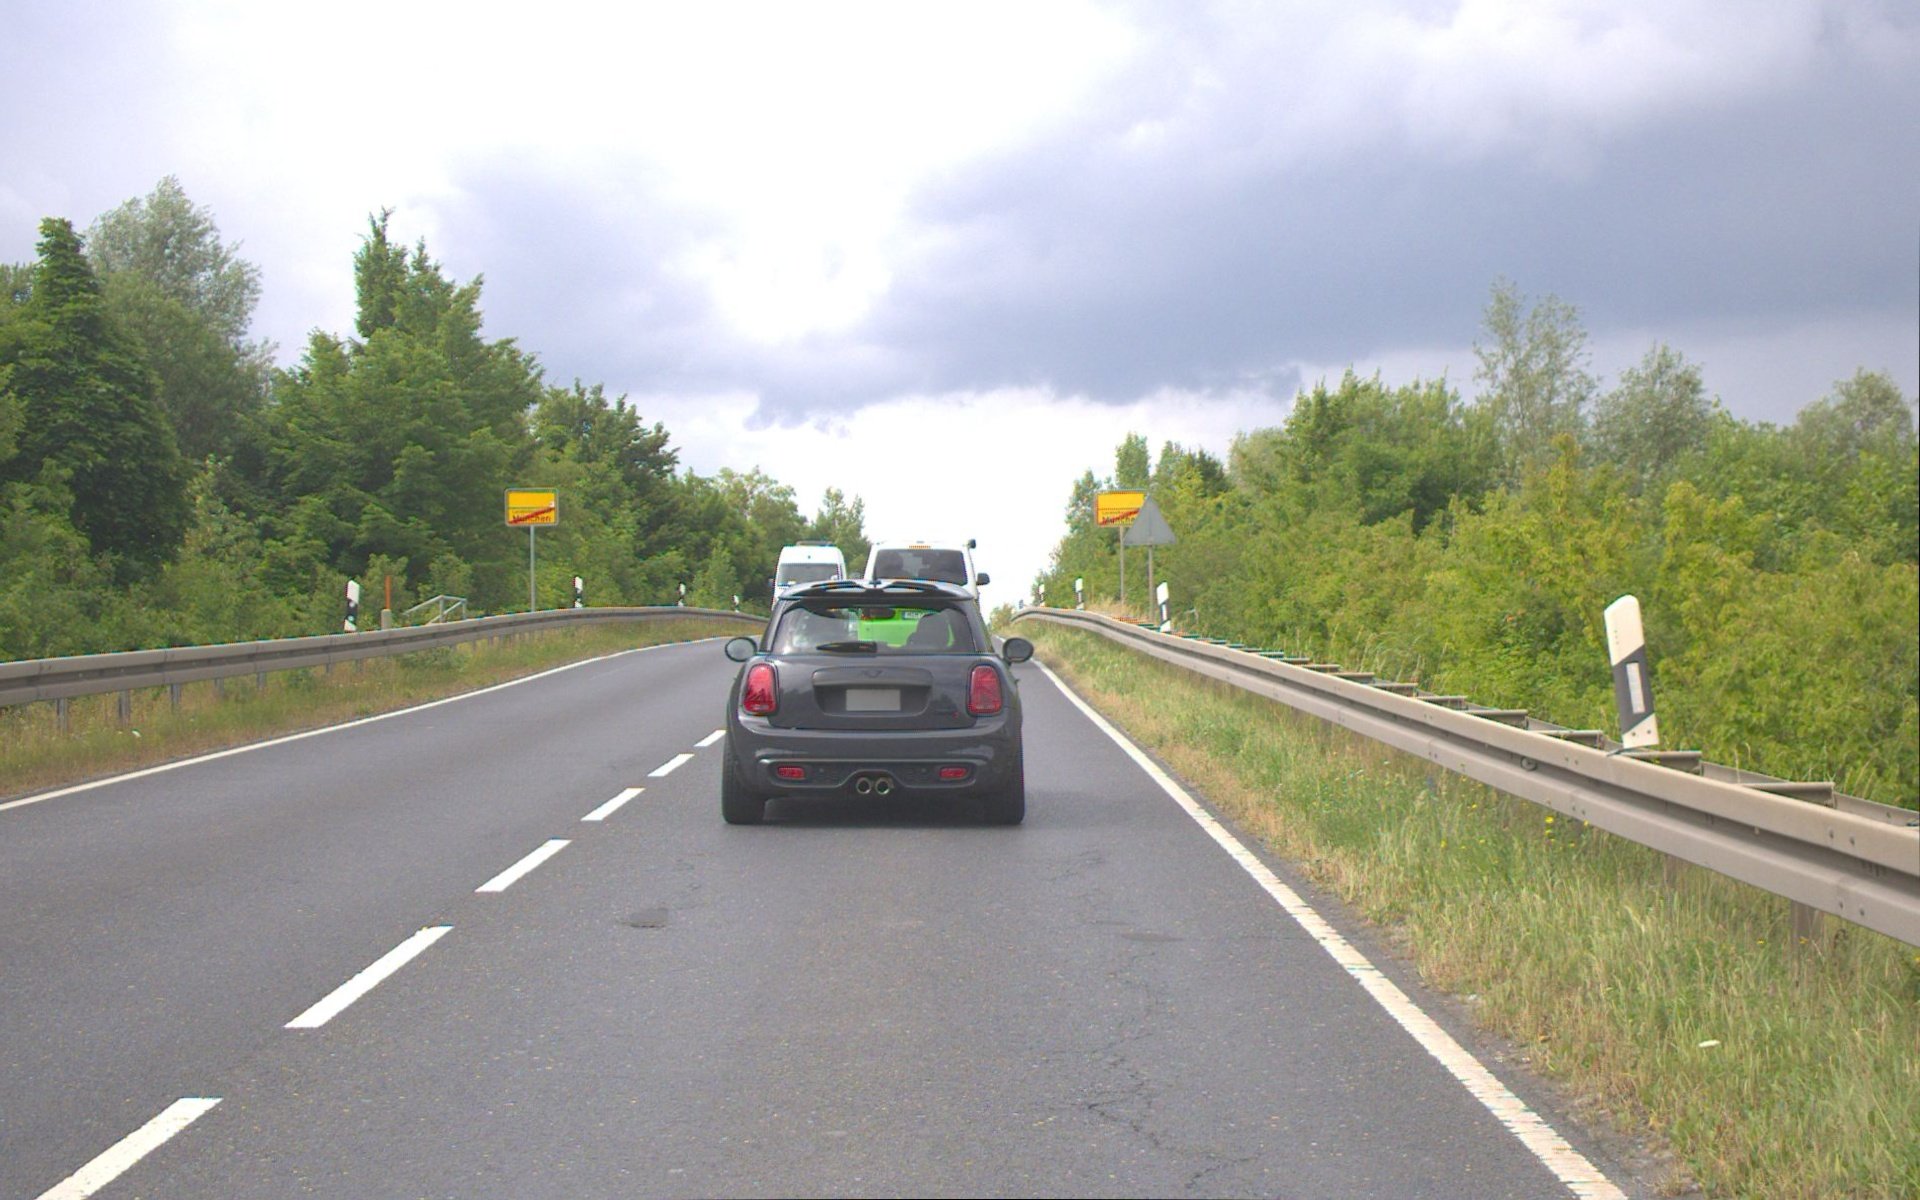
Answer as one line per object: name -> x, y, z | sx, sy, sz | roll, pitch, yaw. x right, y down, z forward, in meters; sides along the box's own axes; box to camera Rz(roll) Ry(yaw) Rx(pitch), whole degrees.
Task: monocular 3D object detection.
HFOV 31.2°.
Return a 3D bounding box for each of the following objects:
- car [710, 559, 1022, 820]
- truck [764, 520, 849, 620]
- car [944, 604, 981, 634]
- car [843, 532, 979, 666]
car -> -0.579, 0.481, 21.199 | 1.732, 1.451, 4.000 | 0, 1, -2
truck -> -4.370, -0.875, 98.758 | 2.065, 2.733, 7.007 | -1, 1, 0
car -> 0.139, 0.921, 168.049 | 1.694, 1.315, 4.000 | -2, 1, 2
car -> -0.720, -0.026, 53.639 | 2.022, 2.006, 4.000 | 0, 0, 1
